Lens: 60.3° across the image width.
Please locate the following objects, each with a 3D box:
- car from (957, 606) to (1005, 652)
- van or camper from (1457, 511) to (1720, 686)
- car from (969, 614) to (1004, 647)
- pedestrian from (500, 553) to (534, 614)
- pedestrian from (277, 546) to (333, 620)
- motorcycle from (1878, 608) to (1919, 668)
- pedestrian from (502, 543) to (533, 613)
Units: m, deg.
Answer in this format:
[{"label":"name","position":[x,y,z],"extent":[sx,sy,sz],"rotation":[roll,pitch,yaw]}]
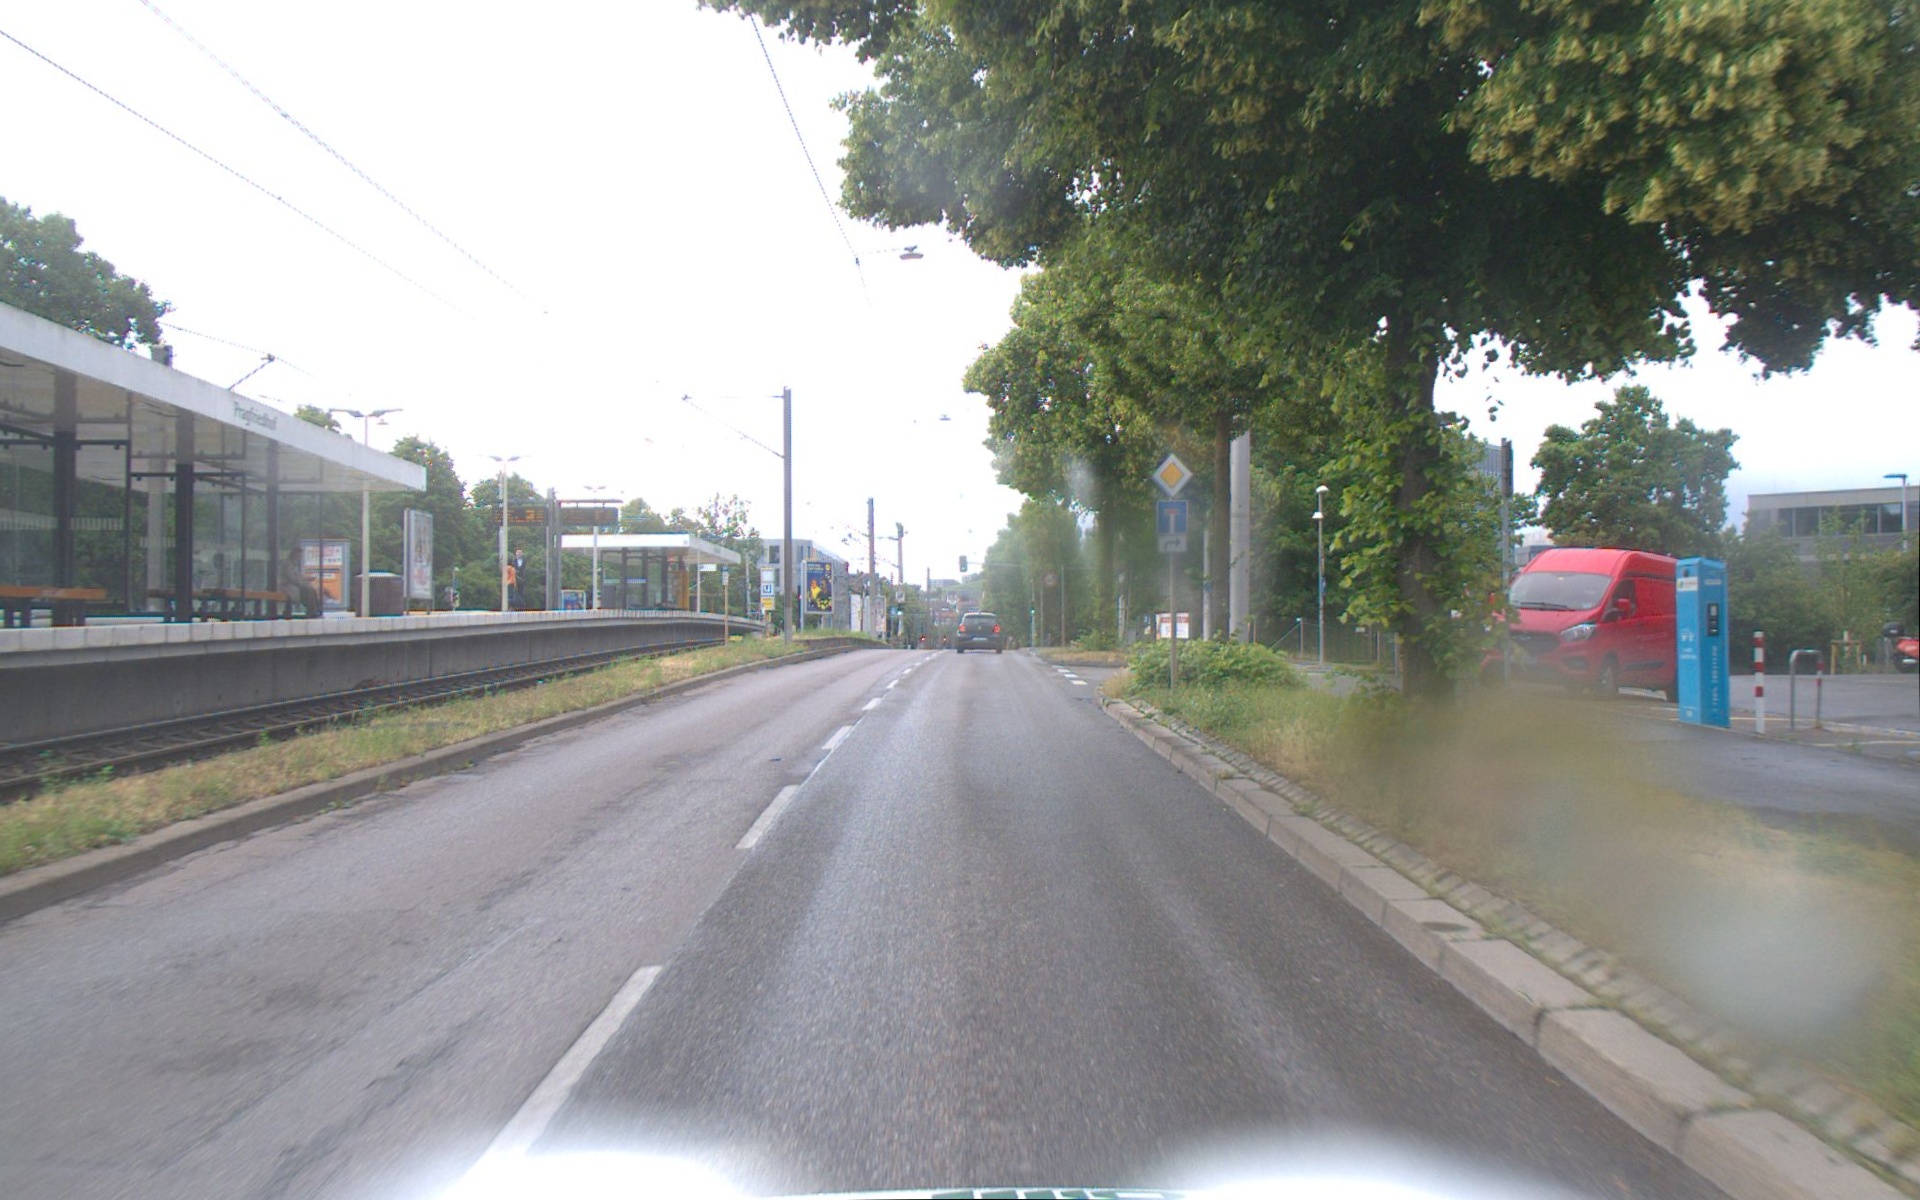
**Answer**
[{"label":"car","position":[0.754,1.046,60.528],"extent":[1.691,1.567,4.000],"rotation":[0,1,0]},{"label":"van or camper","position":[10.118,0.049,26.350],"extent":[2.006,2.447,5.358],"rotation":[4,0,42]},{"label":"car","position":[1.308,1.510,83.207],"extent":[1.653,1.544,4.000],"rotation":[0,1,0]},{"label":"pedestrian","position":[-12.367,-0.465,46.153],"extent":[0.783,1.675,0.913],"rotation":[1,1,-21]},{"label":"pedestrian","position":[-11.136,-0.284,28.121],"extent":[0.696,1.247,0.619],"rotation":[0,0,0]},{"label":"motorcycle","position":[20.935,0.804,35.580],"extent":[1.986,1.235,0.471],"rotation":[-4,-8,39]},{"label":"pedestrian","position":[-12.589,-0.630,47.082],"extent":[0.732,1.942,0.837],"rotation":[1,1,-21]}]
